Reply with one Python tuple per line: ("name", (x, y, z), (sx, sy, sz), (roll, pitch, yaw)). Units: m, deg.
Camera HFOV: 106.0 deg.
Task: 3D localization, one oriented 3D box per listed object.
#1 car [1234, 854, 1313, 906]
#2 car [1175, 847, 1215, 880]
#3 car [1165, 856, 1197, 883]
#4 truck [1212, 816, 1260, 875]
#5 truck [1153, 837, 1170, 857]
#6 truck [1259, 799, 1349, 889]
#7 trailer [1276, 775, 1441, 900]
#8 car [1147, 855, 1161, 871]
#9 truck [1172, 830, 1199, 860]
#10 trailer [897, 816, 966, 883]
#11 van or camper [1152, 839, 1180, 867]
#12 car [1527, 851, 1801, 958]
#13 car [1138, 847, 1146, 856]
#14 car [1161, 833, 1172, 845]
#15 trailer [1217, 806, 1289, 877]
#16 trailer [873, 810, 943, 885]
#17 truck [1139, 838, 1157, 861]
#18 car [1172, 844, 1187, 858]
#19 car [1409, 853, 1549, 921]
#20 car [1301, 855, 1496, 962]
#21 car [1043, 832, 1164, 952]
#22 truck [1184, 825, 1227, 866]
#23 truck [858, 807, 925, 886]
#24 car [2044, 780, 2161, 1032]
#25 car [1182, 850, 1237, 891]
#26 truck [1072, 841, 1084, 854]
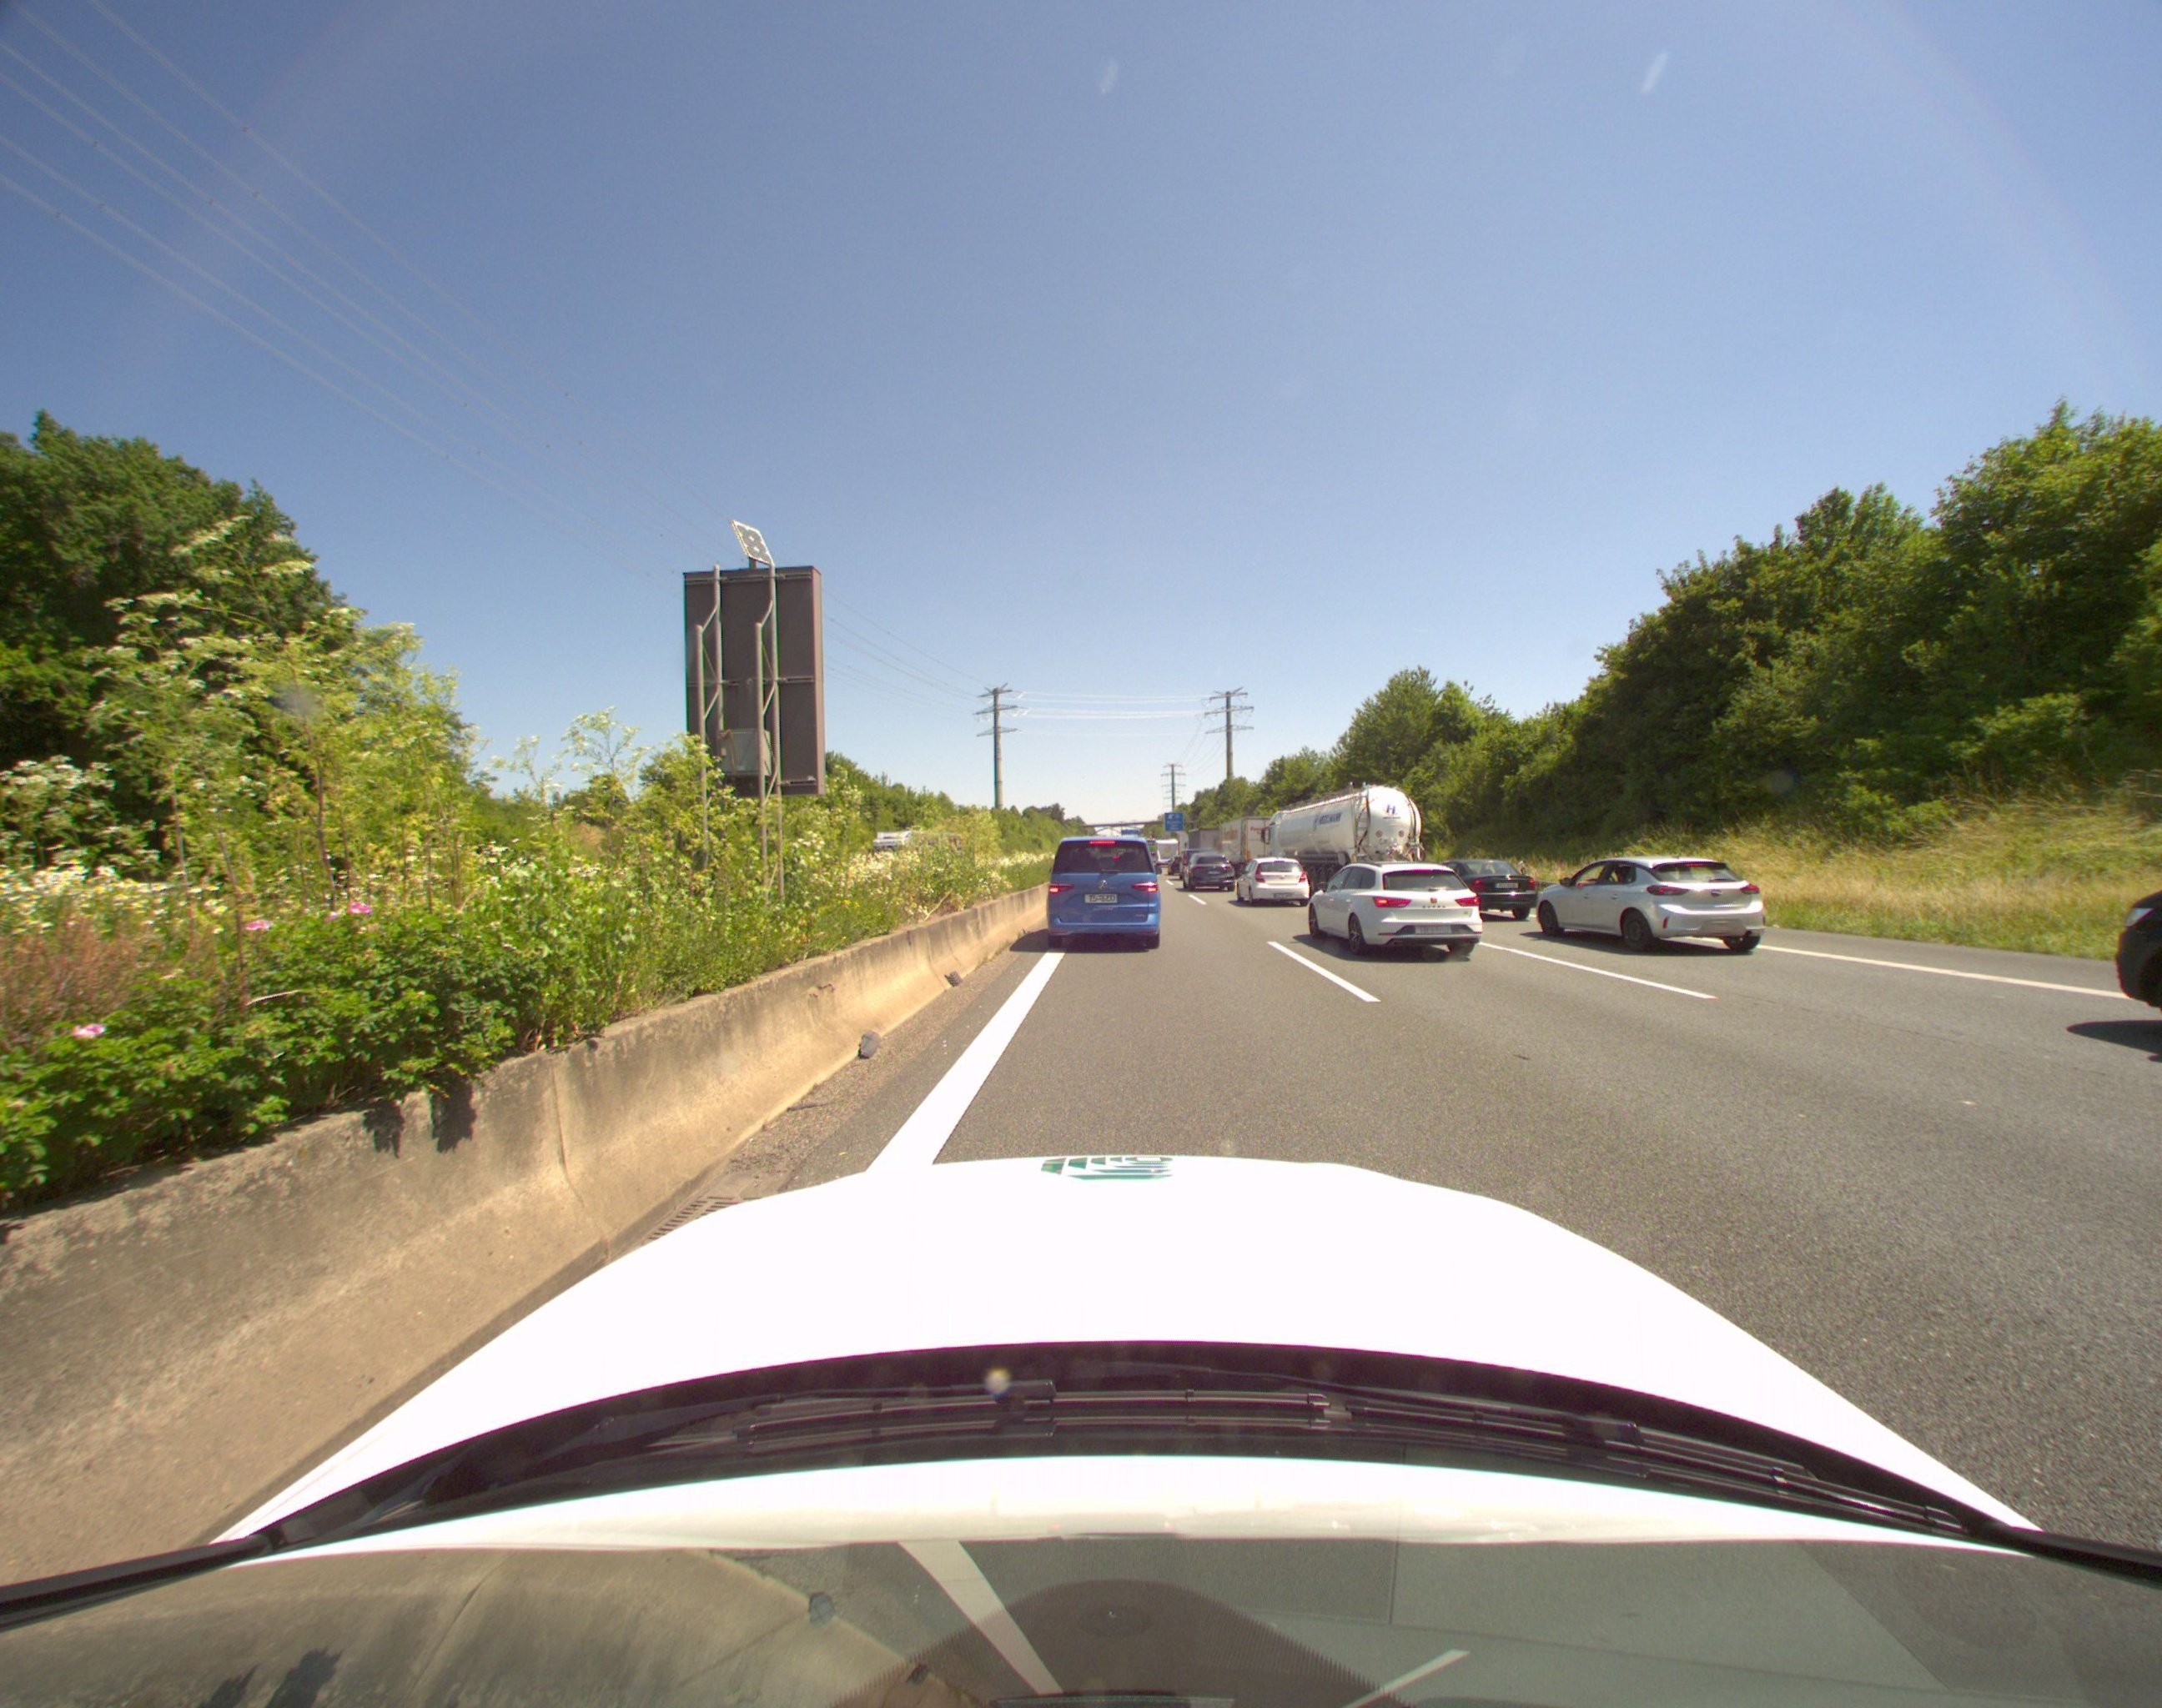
("car", (6.073, 0.801, 26.122), (1.809, 1.485, 4.004), (-2, -1, 4))
("car", (7.181, 0.607, 51.728), (1.917, 1.925, 4.235), (-3, -1, 0))
("car", (7.675, 1.201, 62.735), (1.917, 1.925, 4.235), (-3, -1, 0))
("truck", (12.300, -0.635, 64.970), (2.901, 4.469, 5.145), (-2, -1, 2))
("truck", (19.558, -1.648, 197.823), (3.552, 4.517, 10.298), (-1, -1, 2))
("truck", (10.378, -0.415, 38.465), (2.782, 3.836, 5.575), (-2, -1, 2))
("trailer", (10.067, -0.486, 31.280), (2.750, 3.845, 11.492), (-2, -1, 2))
("car", (10.127, 1.258, 113.096), (1.828, 1.998, 4.004), (-2, -1, 4))
("truck", (14.520, -1.158, 113.975), (2.883, 3.766, 13.357), (-1, -1, 4))
("trailer", (-12.021, -0.303, 66.636), (3.308, 5.047, 9.598), (-1, -1, 3))
("van or camper", (9.715, -0.037, 93.577), (2.943, 3.022, 7.110), (-1, -1, 4))
("car", (9.259, 0.705, 13.406), (1.724, 1.443, 4.031), (-2, 0, 2))
("car", (15.466, -0.606, 206.088), (1.986, 2.126, 4.002), (-1, -1, 2))
("car", (16.142, -2.816, 153.969), (1.985, 2.014, 4.003), (-1, -1, 3))
("trailer", (12.021, -0.732, 58.195), (2.901, 4.469, 12.160), (-2, -1, 2))
("trailer", (-12.467, -0.418, 59.321), (3.309, 5.047, 6.708), (-1, -1, 3))
("truck", (11.681, -0.675, 142.177), (2.883, 3.766, 10.149), (-1, -1, 4))
("car", (14.997, -0.439, 124.198), (1.985, 2.014, 4.003), (-1, -1, 3))
("car", (9.585, 0.771, 19.984), (1.634, 1.416, 3.992), (-3, -1, 3))
("car", (4.992, 0.804, 13.483), (1.740, 1.443, 4.317), (-2, -1, 3))
("car", (0.464, 0.605, 14.888), (1.912, 1.886, 4.003), (0, 0, 3))
("truck", (12.746, -0.684, 84.800), (2.993, 3.766, 15.727), (-1, -1, 4))
("truck", (-12.699, -0.492, 54.832), (3.289, 5.051, 4.035), (-1, -1, 2))
("car", (9.150, 0.342, 4.543), (1.905, 1.940, 4.860), (-2, -1, 3))
("car", (5.725, 0.748, 36.876), (1.991, 1.715, 4.629), (-2, -1, 3))
("truck", (-0.882, -2.021, 255.873), (2.899, 3.819, 11.952), (0, 0, 3))
